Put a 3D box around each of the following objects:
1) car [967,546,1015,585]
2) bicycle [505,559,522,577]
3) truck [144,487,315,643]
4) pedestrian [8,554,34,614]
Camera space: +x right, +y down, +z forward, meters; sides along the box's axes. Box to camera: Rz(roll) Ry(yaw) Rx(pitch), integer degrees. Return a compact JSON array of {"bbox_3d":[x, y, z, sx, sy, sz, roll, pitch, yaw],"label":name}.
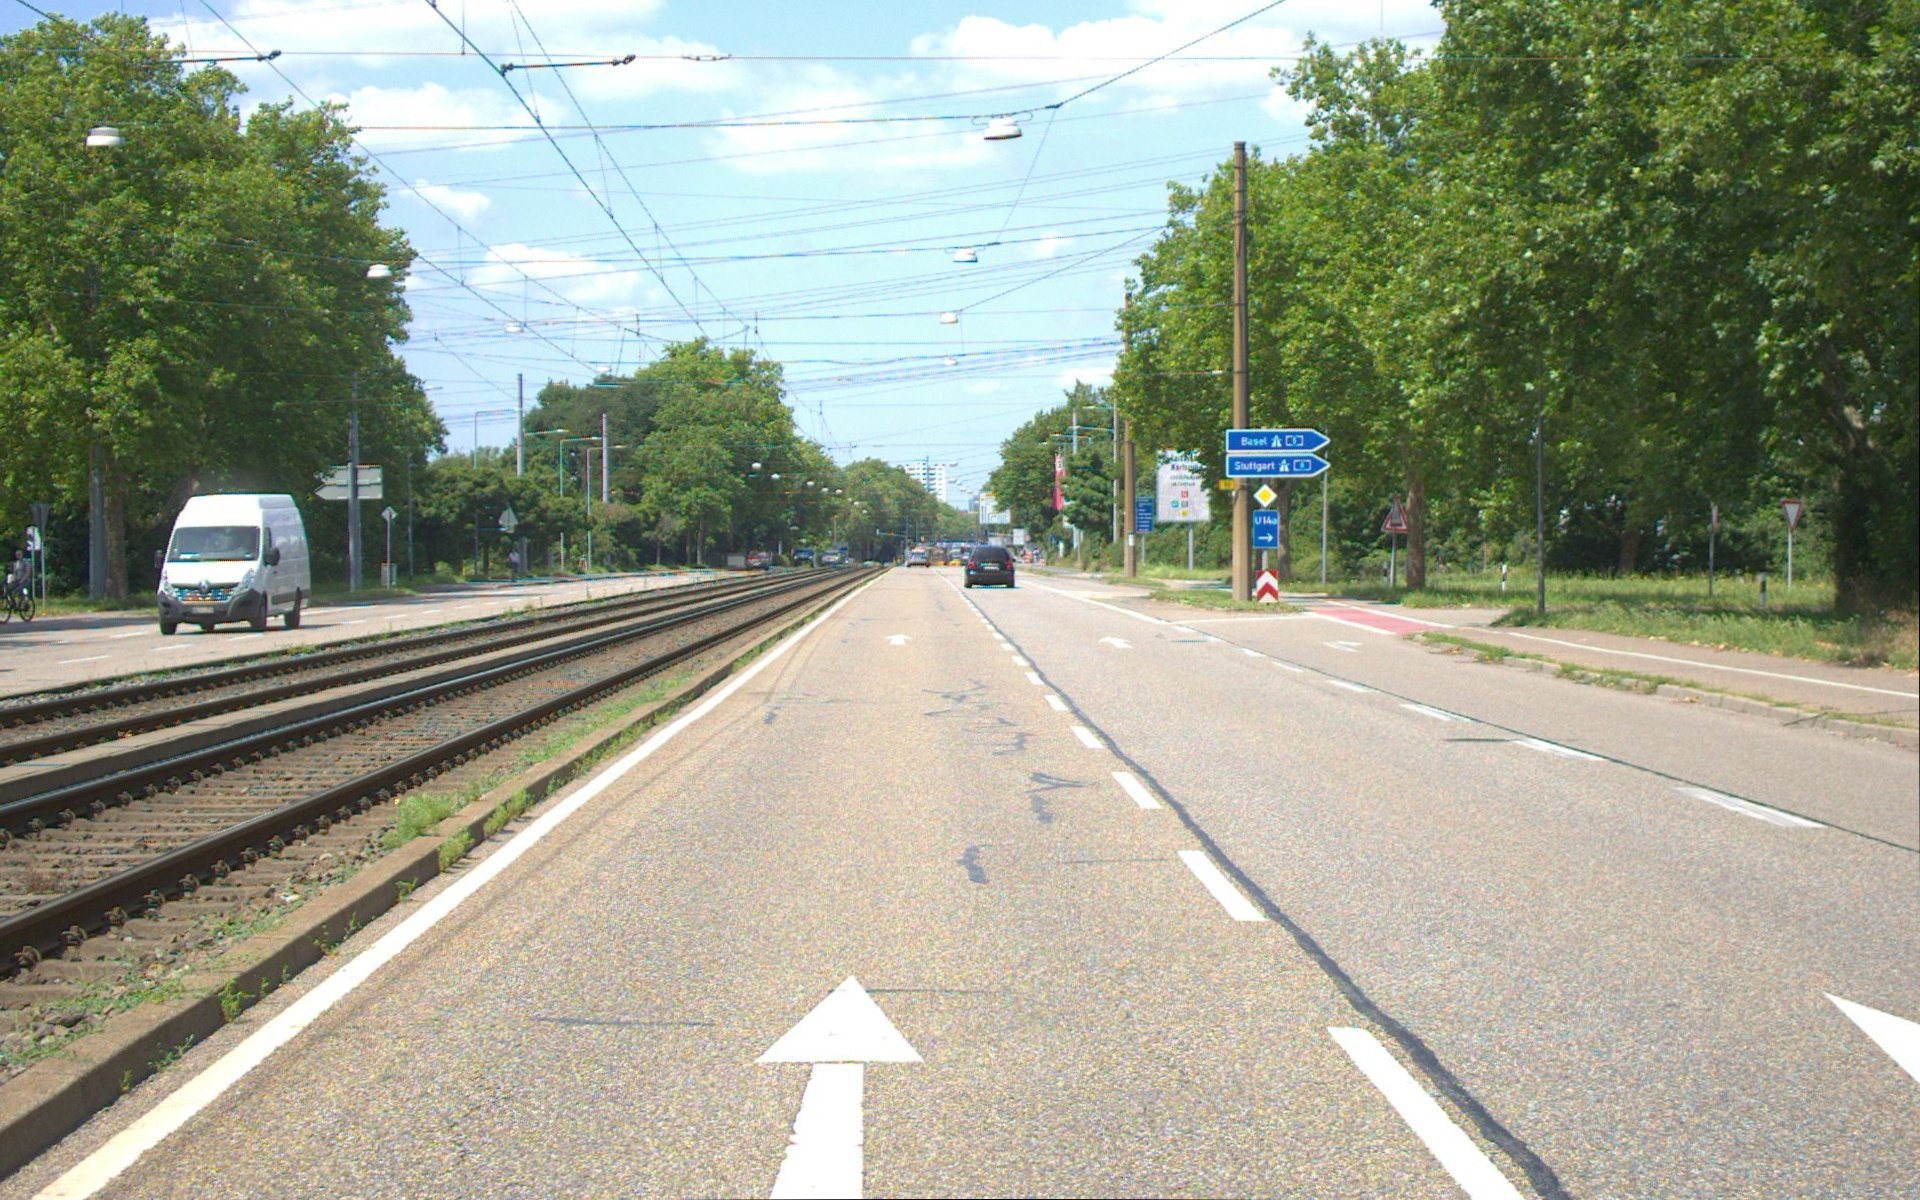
[{"bbox_3d":[1.132,-1.279,125.740,1.586,1.338,3.273,-1,2,-2],"label":"car"},{"bbox_3d":[-22.041,-1.572,169.670,0.515,0.854,1.931,-2,1,2],"label":"bicycle"},{"bbox_3d":[-14.569,-0.729,68.952,2.054,2.929,6.320,-1,1,-1],"label":"truck"},{"bbox_3d":[-24.674,-0.426,90.322,0.513,1.546,0.704,-1,1,-6],"label":"pedestrian"}]
